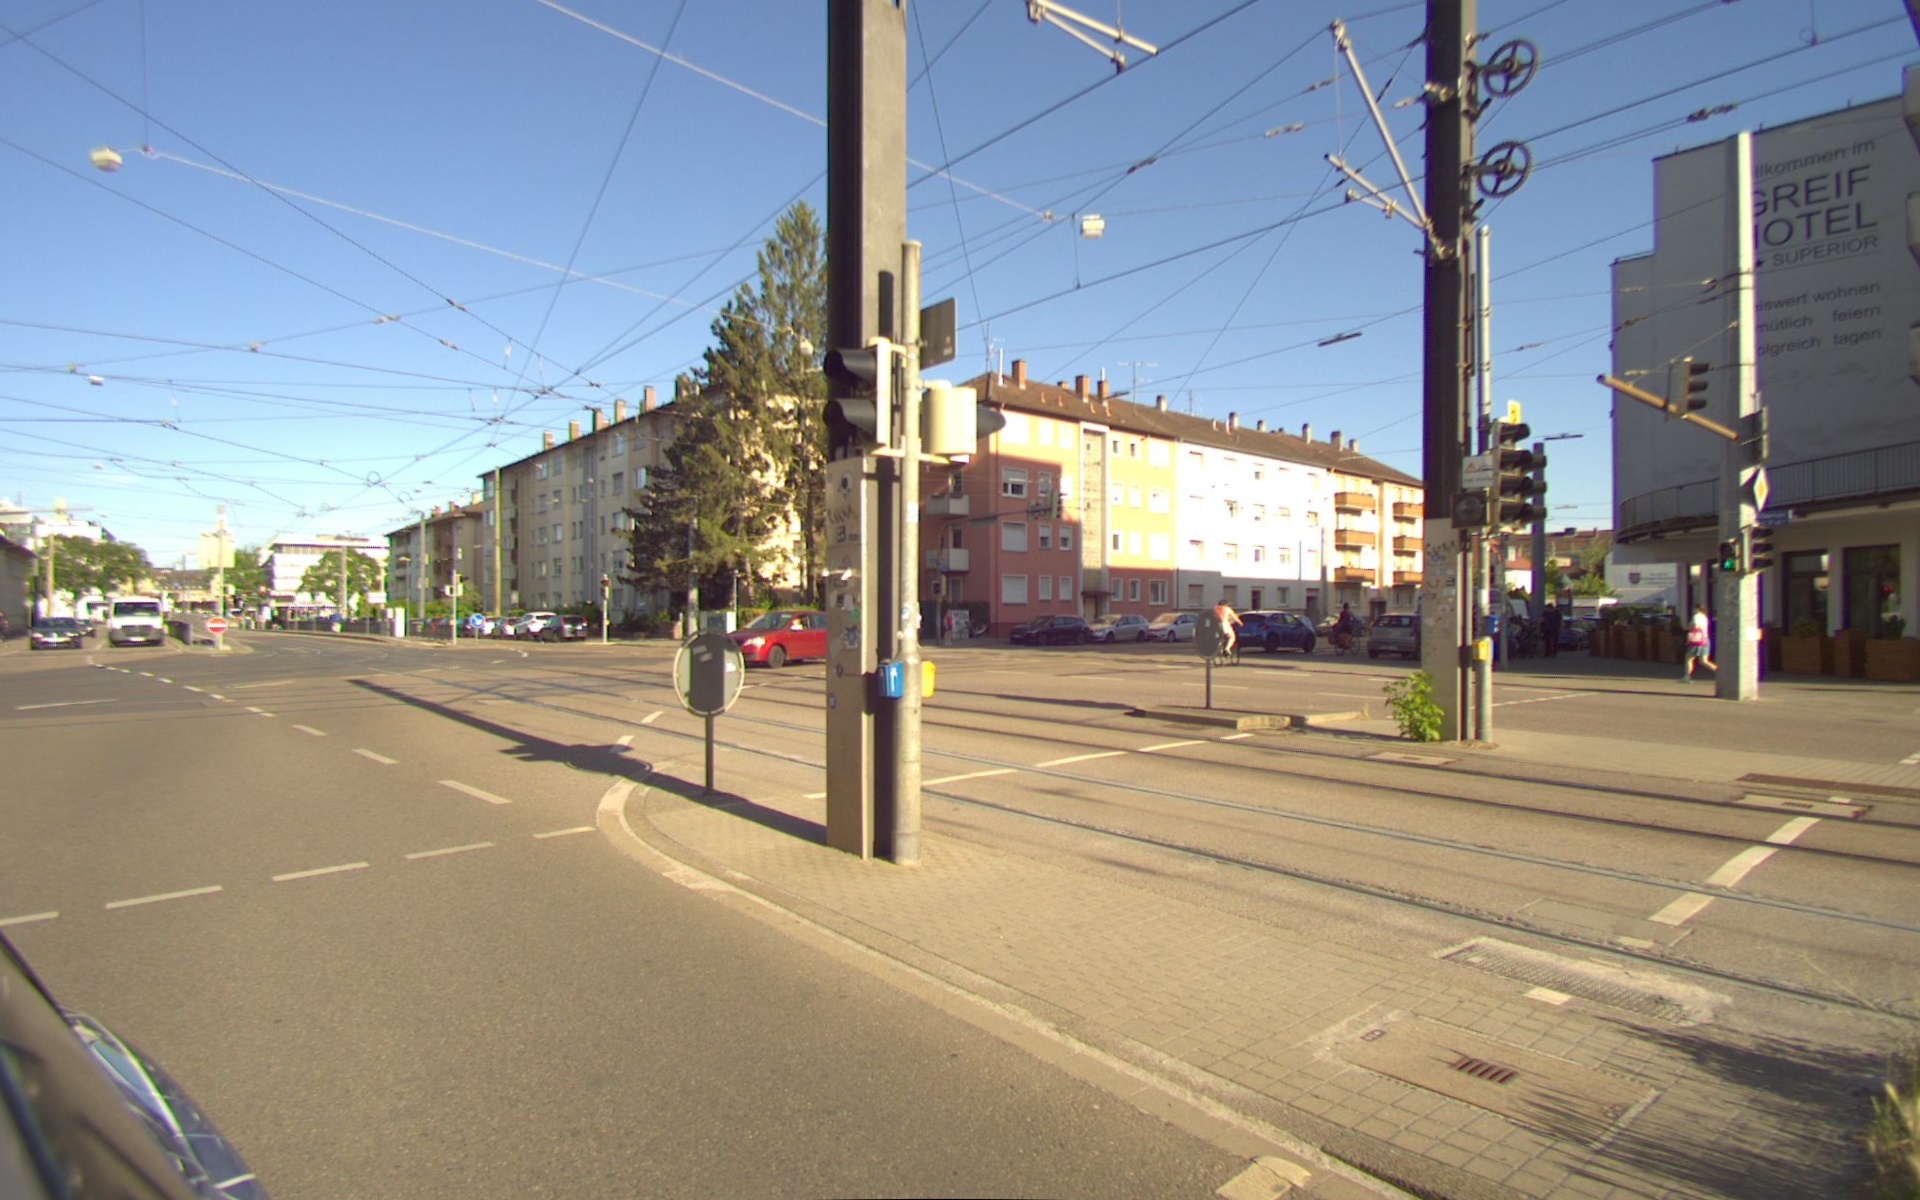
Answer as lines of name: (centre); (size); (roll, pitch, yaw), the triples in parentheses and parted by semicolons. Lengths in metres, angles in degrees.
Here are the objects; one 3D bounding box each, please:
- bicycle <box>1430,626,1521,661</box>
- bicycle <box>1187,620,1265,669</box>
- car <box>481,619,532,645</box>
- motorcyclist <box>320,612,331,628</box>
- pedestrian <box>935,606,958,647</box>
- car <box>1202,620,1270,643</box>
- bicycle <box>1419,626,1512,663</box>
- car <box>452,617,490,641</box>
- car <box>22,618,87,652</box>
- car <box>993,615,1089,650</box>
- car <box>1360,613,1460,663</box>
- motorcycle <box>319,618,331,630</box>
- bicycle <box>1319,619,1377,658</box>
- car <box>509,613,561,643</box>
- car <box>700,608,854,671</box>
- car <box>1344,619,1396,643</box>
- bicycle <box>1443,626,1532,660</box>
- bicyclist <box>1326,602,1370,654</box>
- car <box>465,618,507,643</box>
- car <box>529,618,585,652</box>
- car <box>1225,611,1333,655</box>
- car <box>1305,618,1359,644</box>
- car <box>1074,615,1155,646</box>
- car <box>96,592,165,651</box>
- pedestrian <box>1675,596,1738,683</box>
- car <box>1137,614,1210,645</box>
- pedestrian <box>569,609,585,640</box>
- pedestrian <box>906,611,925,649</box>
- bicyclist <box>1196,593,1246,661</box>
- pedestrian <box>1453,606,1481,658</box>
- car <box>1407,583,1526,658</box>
bicycle: (15.438, 1.295, 30.353); (0.843, 1.009, 2.260); (1, -3, -43)
bicycle: (6.918, 1.149, 26.322); (2.029, 1.190, 0.816); (1, 0, -35)
car: (-29.078, 2.026, 64.902); (1.806, 1.489, 4.038); (1, 0, -42)
motorcyclist: (-61.454, 1.903, 97.977); (0.844, 1.499, 0.731); (1, 0, -37)
pedestrian: (-0.610, 1.165, 44.534); (0.778, 1.734, 0.700); (2, 0, 21)
car: (16.254, 1.846, 59.512); (4.218, 1.248, 1.955); (1, 0, -43)
bicycle: (14.634, 1.288, 29.344); (0.843, 1.009, 2.260); (1, -3, -43)
car: (-35.384, 2.062, 73.223); (1.536, 1.537, 3.652); (1, 0, -41)
car: (-40.369, 1.556, 45.199); (1.853, 1.425, 3.937); (1, -2, -38)
car: (3.912, 1.567, 48.319); (4.374, 1.442, 2.163); (4, -1, -44)
car: (14.523, 1.187, 32.590); (1.664, 1.442, 3.831); (2, 0, 45)
motorcycle: (-61.459, 2.308, 97.965); (0.844, 1.054, 1.947); (1, 0, -36)
bicycle: (13.083, 1.275, 34.103); (2.061, 1.233, 0.945); (1, 0, -40)
car: (-25.708, 1.690, 61.100); (1.745, 1.610, 4.040); (1, 0, -40)
car: (-4.644, 0.982, 26.154); (1.780, 1.497, 3.783); (-1, -2, 35)
car: (28.538, 2.137, 70.405); (3.940, 1.588, 1.877); (1, 0, -44)
bicycle: (16.202, 1.316, 31.157); (0.843, 1.009, 2.260); (1, -3, -43)
bicyclist: (13.065, 0.924, 34.096); (1.062, 1.685, 0.945); (1, 0, -39)
car: (-32.693, 2.093, 69.688); (1.636, 1.569, 3.795); (1, 0, -41)
car: (-22.649, 1.936, 56.793); (1.841, 1.640, 4.081); (1, 1, -38)
car: (11.425, 1.160, 36.258); (3.600, 1.463, 1.747); (1, 0, -31)
car: (24.857, 2.052, 67.575); (3.940, 1.588, 1.877); (1, 0, -44)
car: (7.924, 1.519, 51.625); (4.038, 1.447, 1.913); (1, 0, -41)
car: (-38.679, 0.967, 47.302); (2.304, 2.536, 4.865); (1, 0, -38)
pedestrian: (15.702, 0.809, 21.286); (0.726, 1.759, 0.911); (1, 0, -42)
car: (11.560, 1.580, 54.712); (4.165, 1.537, 1.749); (1, 0, -43)
pedestrian: (-23.523, 1.498, 62.115); (0.689, 1.900, 0.782); (1, 0, -37)
pedestrian: (-1.879, 1.278, 42.914); (0.565, 1.580, 0.519); (1, 0, -42)
bicyclist: (6.770, 0.692, 26.229); (0.919, 1.704, 0.816); (1, 0, -34)
pedestrian: (16.688, 1.056, 33.322); (0.615, 1.666, 0.661); (2, 0, 45)
car: (18.072, 0.713, 36.008); (4.933, 2.500, 2.275); (1, 0, -44)
